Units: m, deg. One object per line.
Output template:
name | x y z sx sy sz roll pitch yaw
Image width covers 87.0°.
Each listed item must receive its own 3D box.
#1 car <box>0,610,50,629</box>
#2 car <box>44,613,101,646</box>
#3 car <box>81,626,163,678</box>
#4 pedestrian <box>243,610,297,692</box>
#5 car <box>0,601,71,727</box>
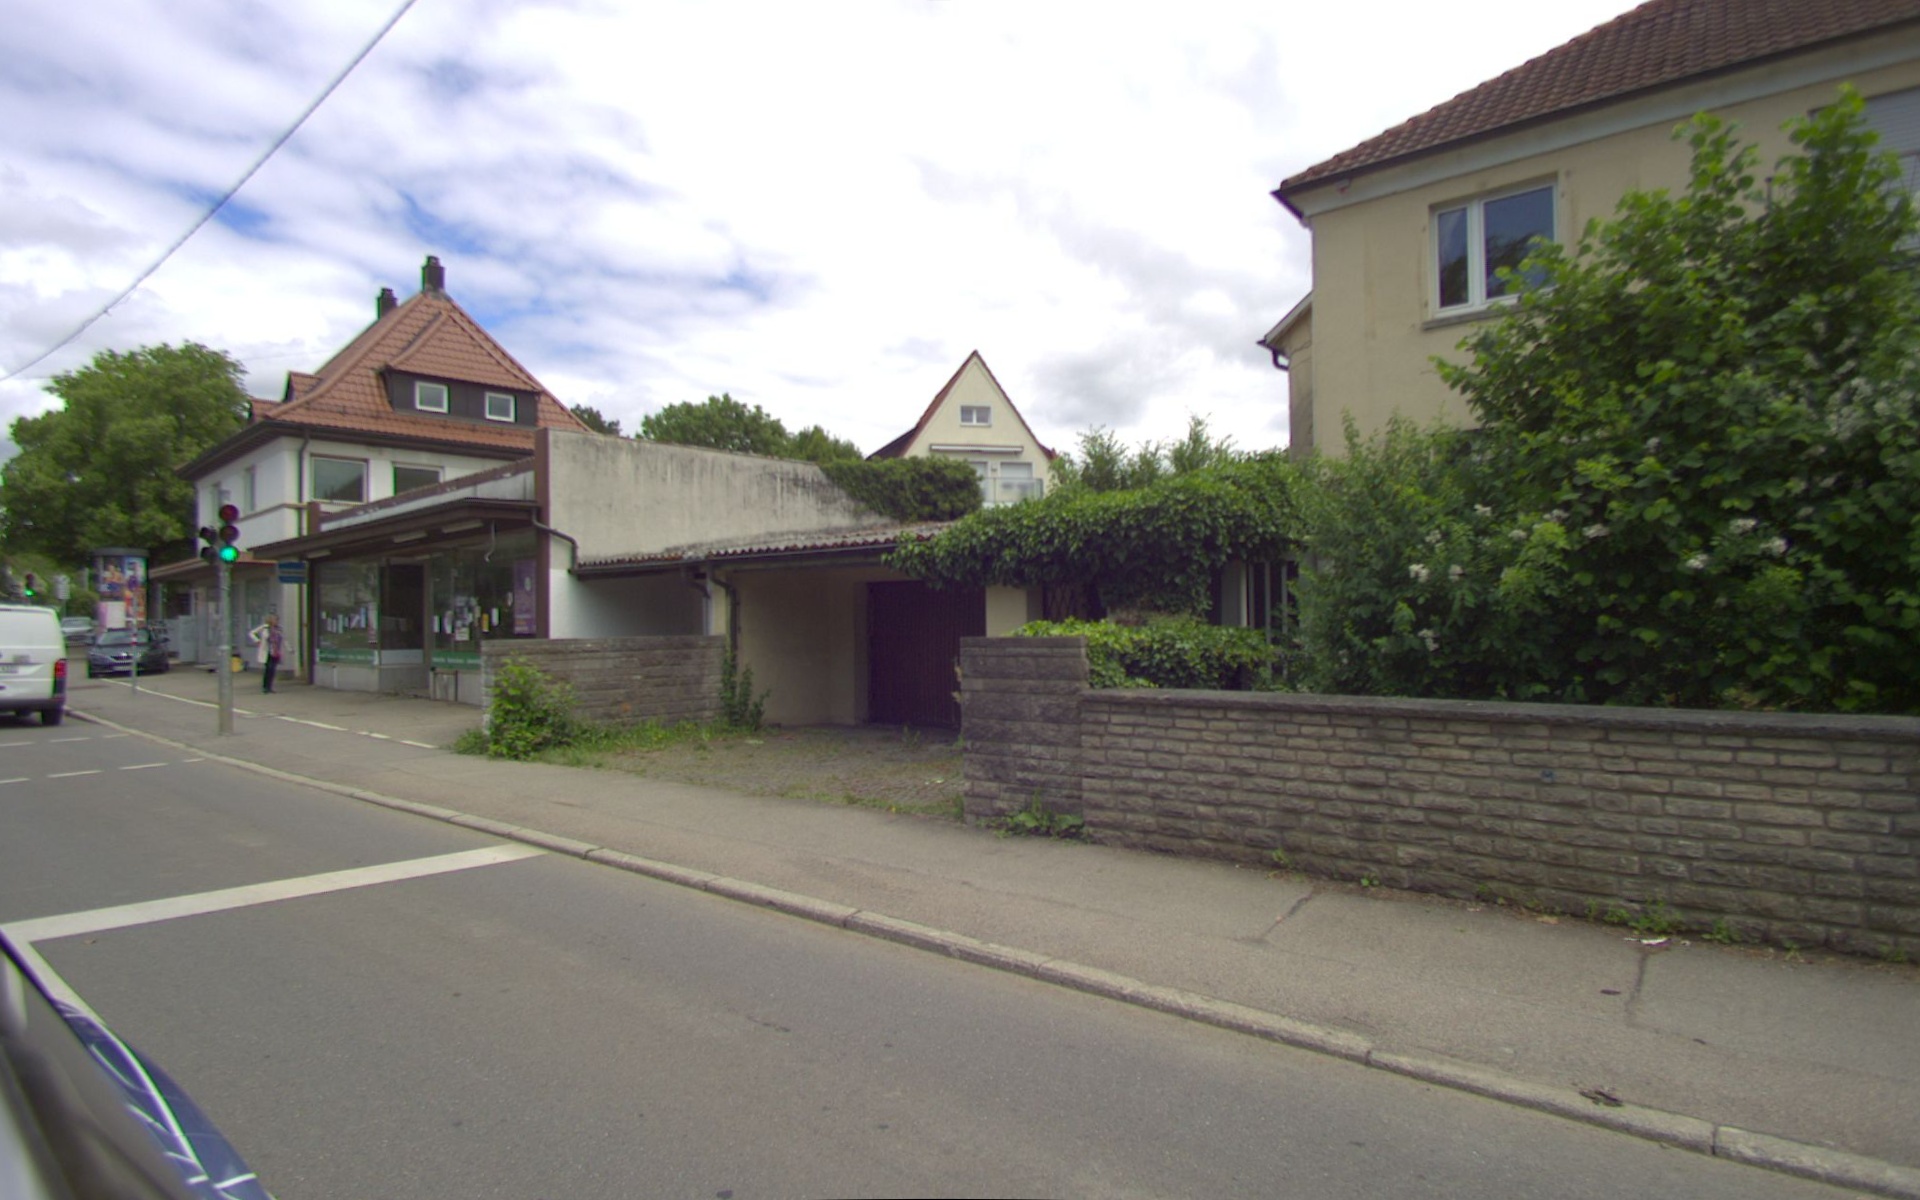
car | -95.277 2.011 102.812 3.935 1.752 2.004 -2 1 -37
car | -48.703 1.583 55.493 3.997 1.690 1.749 -1 1 40
car | -25.307 1.519 30.617 1.796 1.361 3.398 -2 1 -39
pedestrian | -15.348 1.115 22.514 0.604 1.757 0.811 -1 1 41
car | -16.628 0.999 16.956 4.829 1.930 1.861 -1 -2 40
